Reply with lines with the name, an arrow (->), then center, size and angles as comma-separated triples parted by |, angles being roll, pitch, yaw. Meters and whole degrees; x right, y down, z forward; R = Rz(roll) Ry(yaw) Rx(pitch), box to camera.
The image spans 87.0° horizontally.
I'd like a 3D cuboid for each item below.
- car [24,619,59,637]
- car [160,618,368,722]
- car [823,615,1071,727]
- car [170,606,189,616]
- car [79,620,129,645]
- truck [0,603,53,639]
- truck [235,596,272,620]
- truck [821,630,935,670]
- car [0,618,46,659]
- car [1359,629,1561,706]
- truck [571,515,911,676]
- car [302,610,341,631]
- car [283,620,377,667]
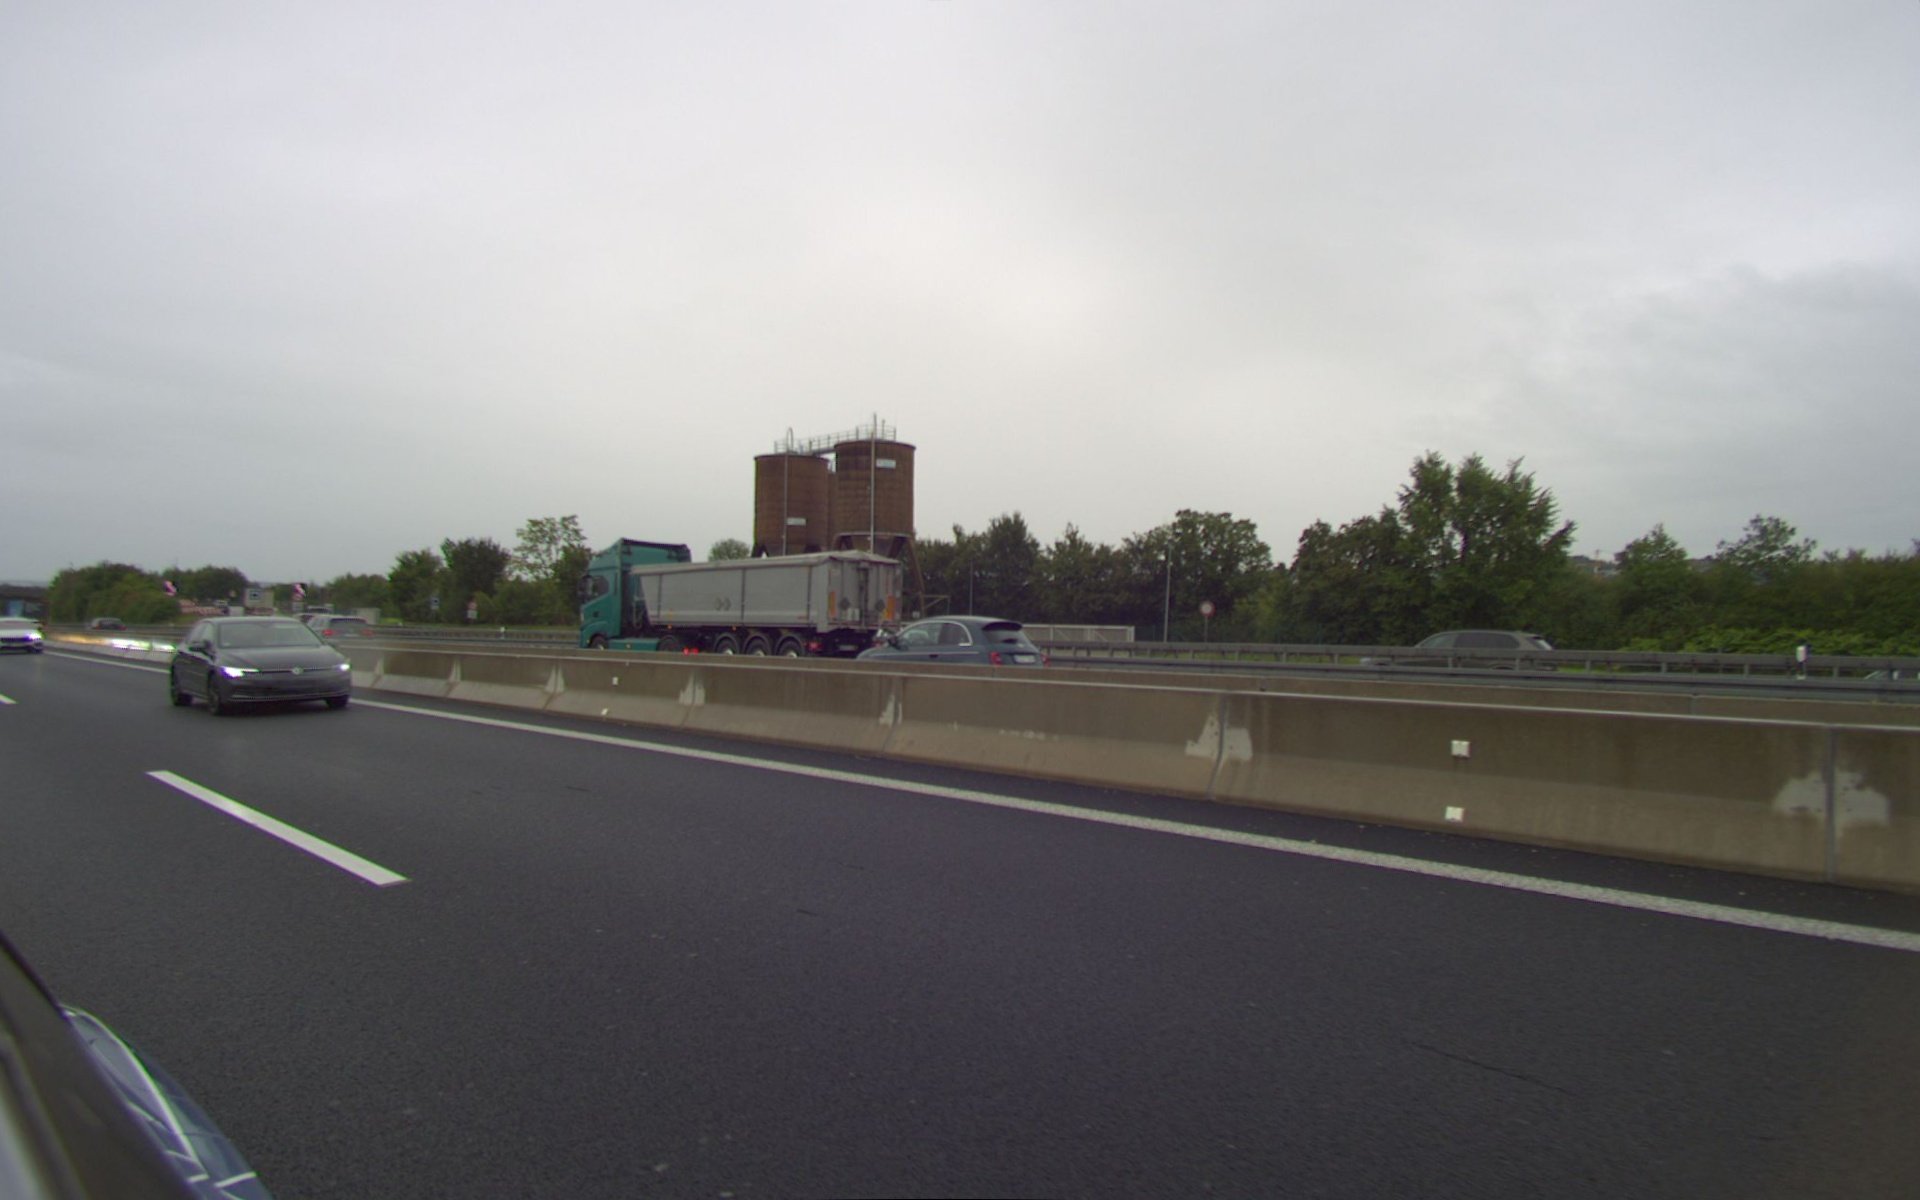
car -> -86.542, 2.652, 95.335 | 3.996, 1.671, 1.887 | -1, -1, 40
car -> -11.266, 1.024, 16.272 | 4.367, 1.436, 1.811 | -1, -1, 42
car -> -0.301, 1.073, 16.671 | 3.998, 1.608, 1.695 | -1, -1, 41
car -> -113.301, 1.612, 146.882 | 3.544, 1.320, 1.598 | -1, 0, 43
car -> -58.779, 2.211, 69.499 | 3.996, 1.671, 1.974 | -1, -1, 40
truck -> -122.275, 2.781, 132.199 | 12.882, 4.511, 3.739 | -1, -1, 40
truck -> -98.895, 1.202, 141.587 | 3.207, 3.241, 7.611 | 0, -1, -43
truck -> -3.818, 2.232, 46.557 | 5.401, 1.657, 1.973 | -1, 0, 40
car -> -39.041, 1.535, 41.409 | 4.815, 1.603, 1.972 | -1, -1, 42
car -> 13.098, 1.694, 26.665 | 4.459, 1.822, 1.883 | -1, -1, 41
truck -> -6.669, -0.040, 28.539 | 11.905, 3.738, 2.937 | -1, 0, 42
car -> -65.311, 2.099, 103.503 | 4.547, 2.029, 2.049 | -1, -2, 40
car -> -23.367, 1.589, 37.511 | 3.996, 1.644, 1.762 | -1, -2, 39
